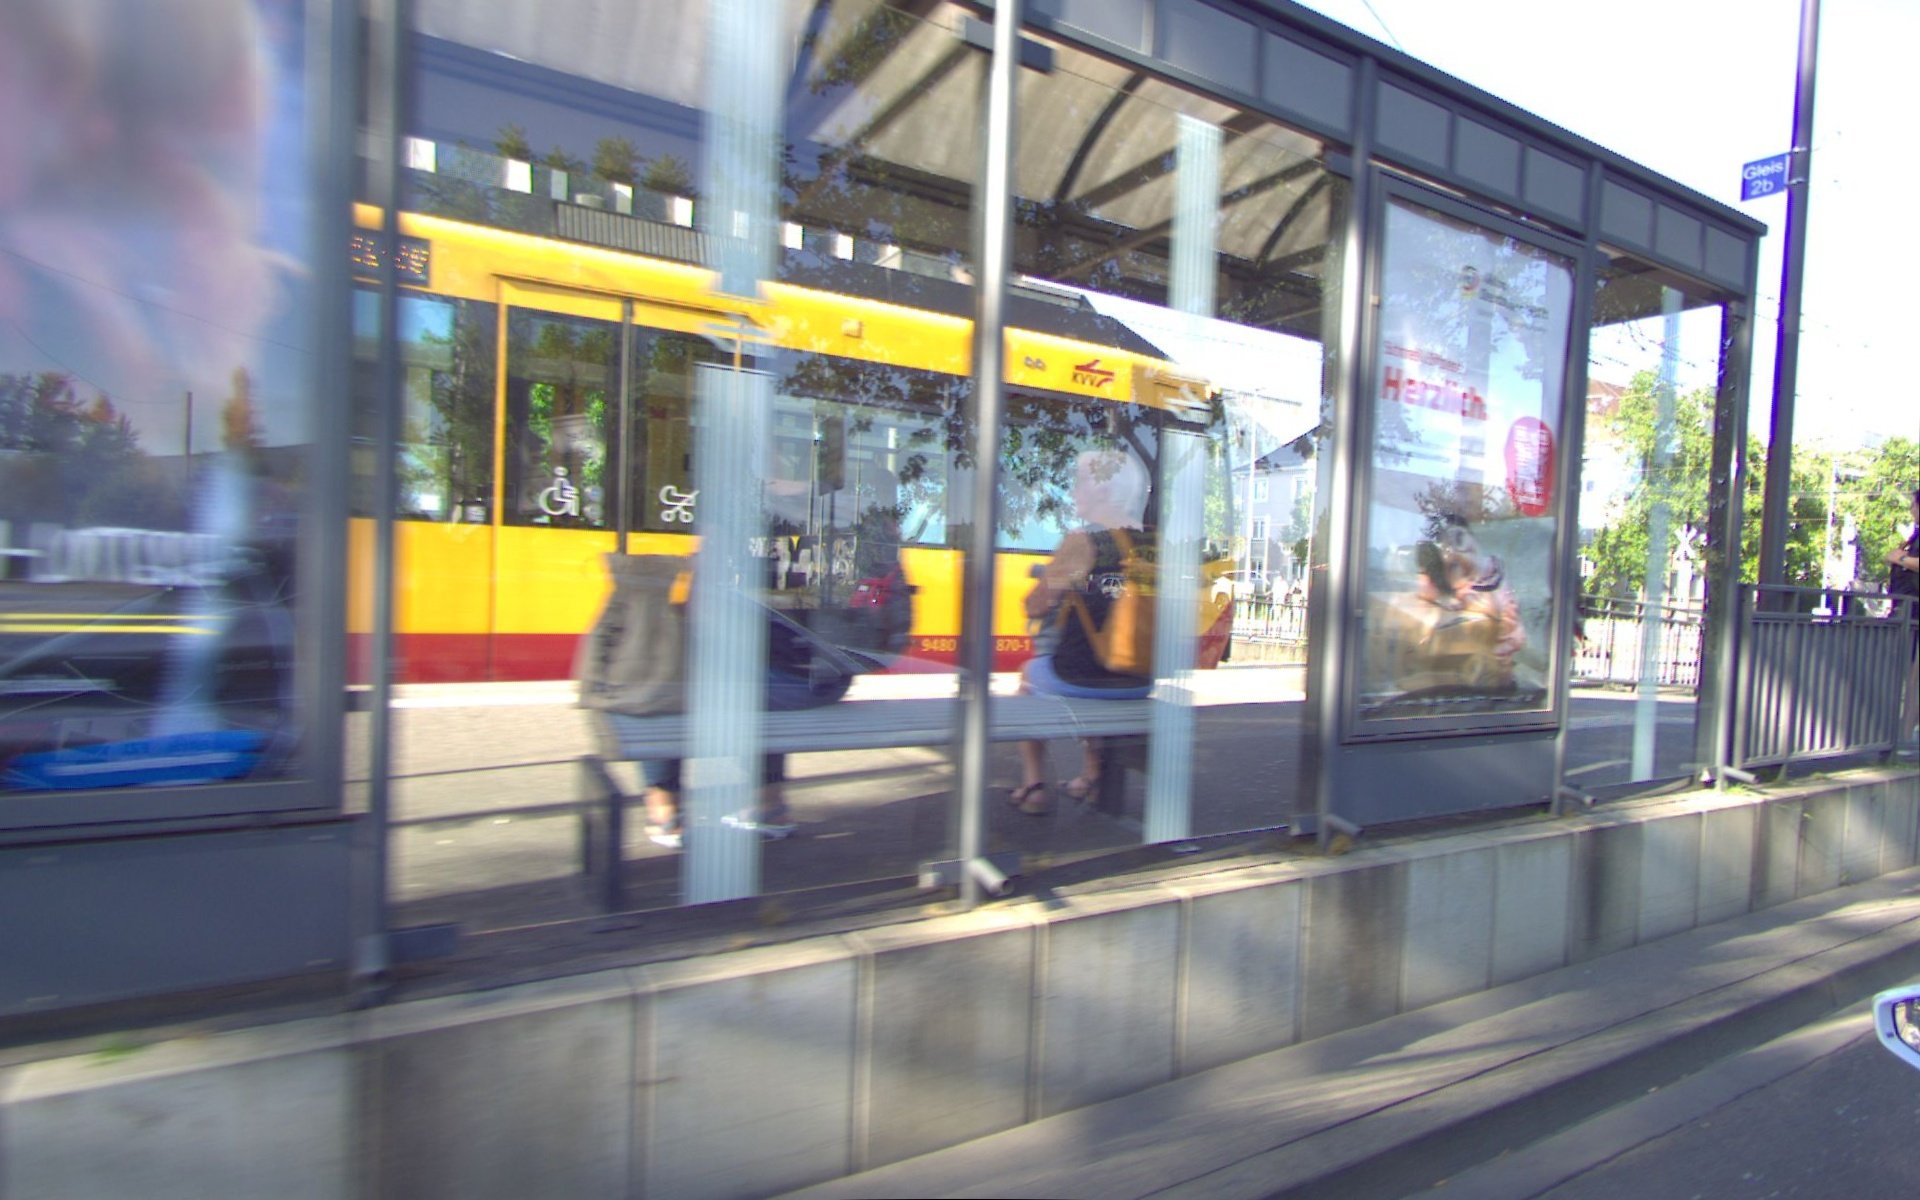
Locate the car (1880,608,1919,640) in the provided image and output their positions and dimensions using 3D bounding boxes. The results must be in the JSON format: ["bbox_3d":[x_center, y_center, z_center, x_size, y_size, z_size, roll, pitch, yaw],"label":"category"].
[{"bbox_3d":[50.037,1.280,52.500,3.955,1.568,1.730,2,2,-31],"label":"car"}]

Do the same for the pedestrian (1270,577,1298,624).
[{"bbox_3d":[12.368,0.019,38.331,0.664,1.740,0.659,1,2,-32],"label":"pedestrian"}]

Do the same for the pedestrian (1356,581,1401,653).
[{"bbox_3d":[10.403,0.424,24.983,0.713,1.740,0.668,2,2,-19],"label":"pedestrian"}]

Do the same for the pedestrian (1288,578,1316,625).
[{"bbox_3d":[12.897,0.051,37.855,0.664,1.740,0.659,1,2,-32],"label":"pedestrian"}]

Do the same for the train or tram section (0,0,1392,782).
[{"bbox_3d":[-1.420,-1.007,8.830,11.708,3.881,3.291,1,2,-31],"label":"train or tram section"}]

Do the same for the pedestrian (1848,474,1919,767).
[{"bbox_3d":[5.949,0.123,6.221,0.658,1.740,0.410,1,2,-31],"label":"pedestrian"}]

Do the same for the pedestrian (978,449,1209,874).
[{"bbox_3d":[0.444,0.186,3.459,0.495,1.310,0.564,1,2,-31],"label":"pedestrian"}]
